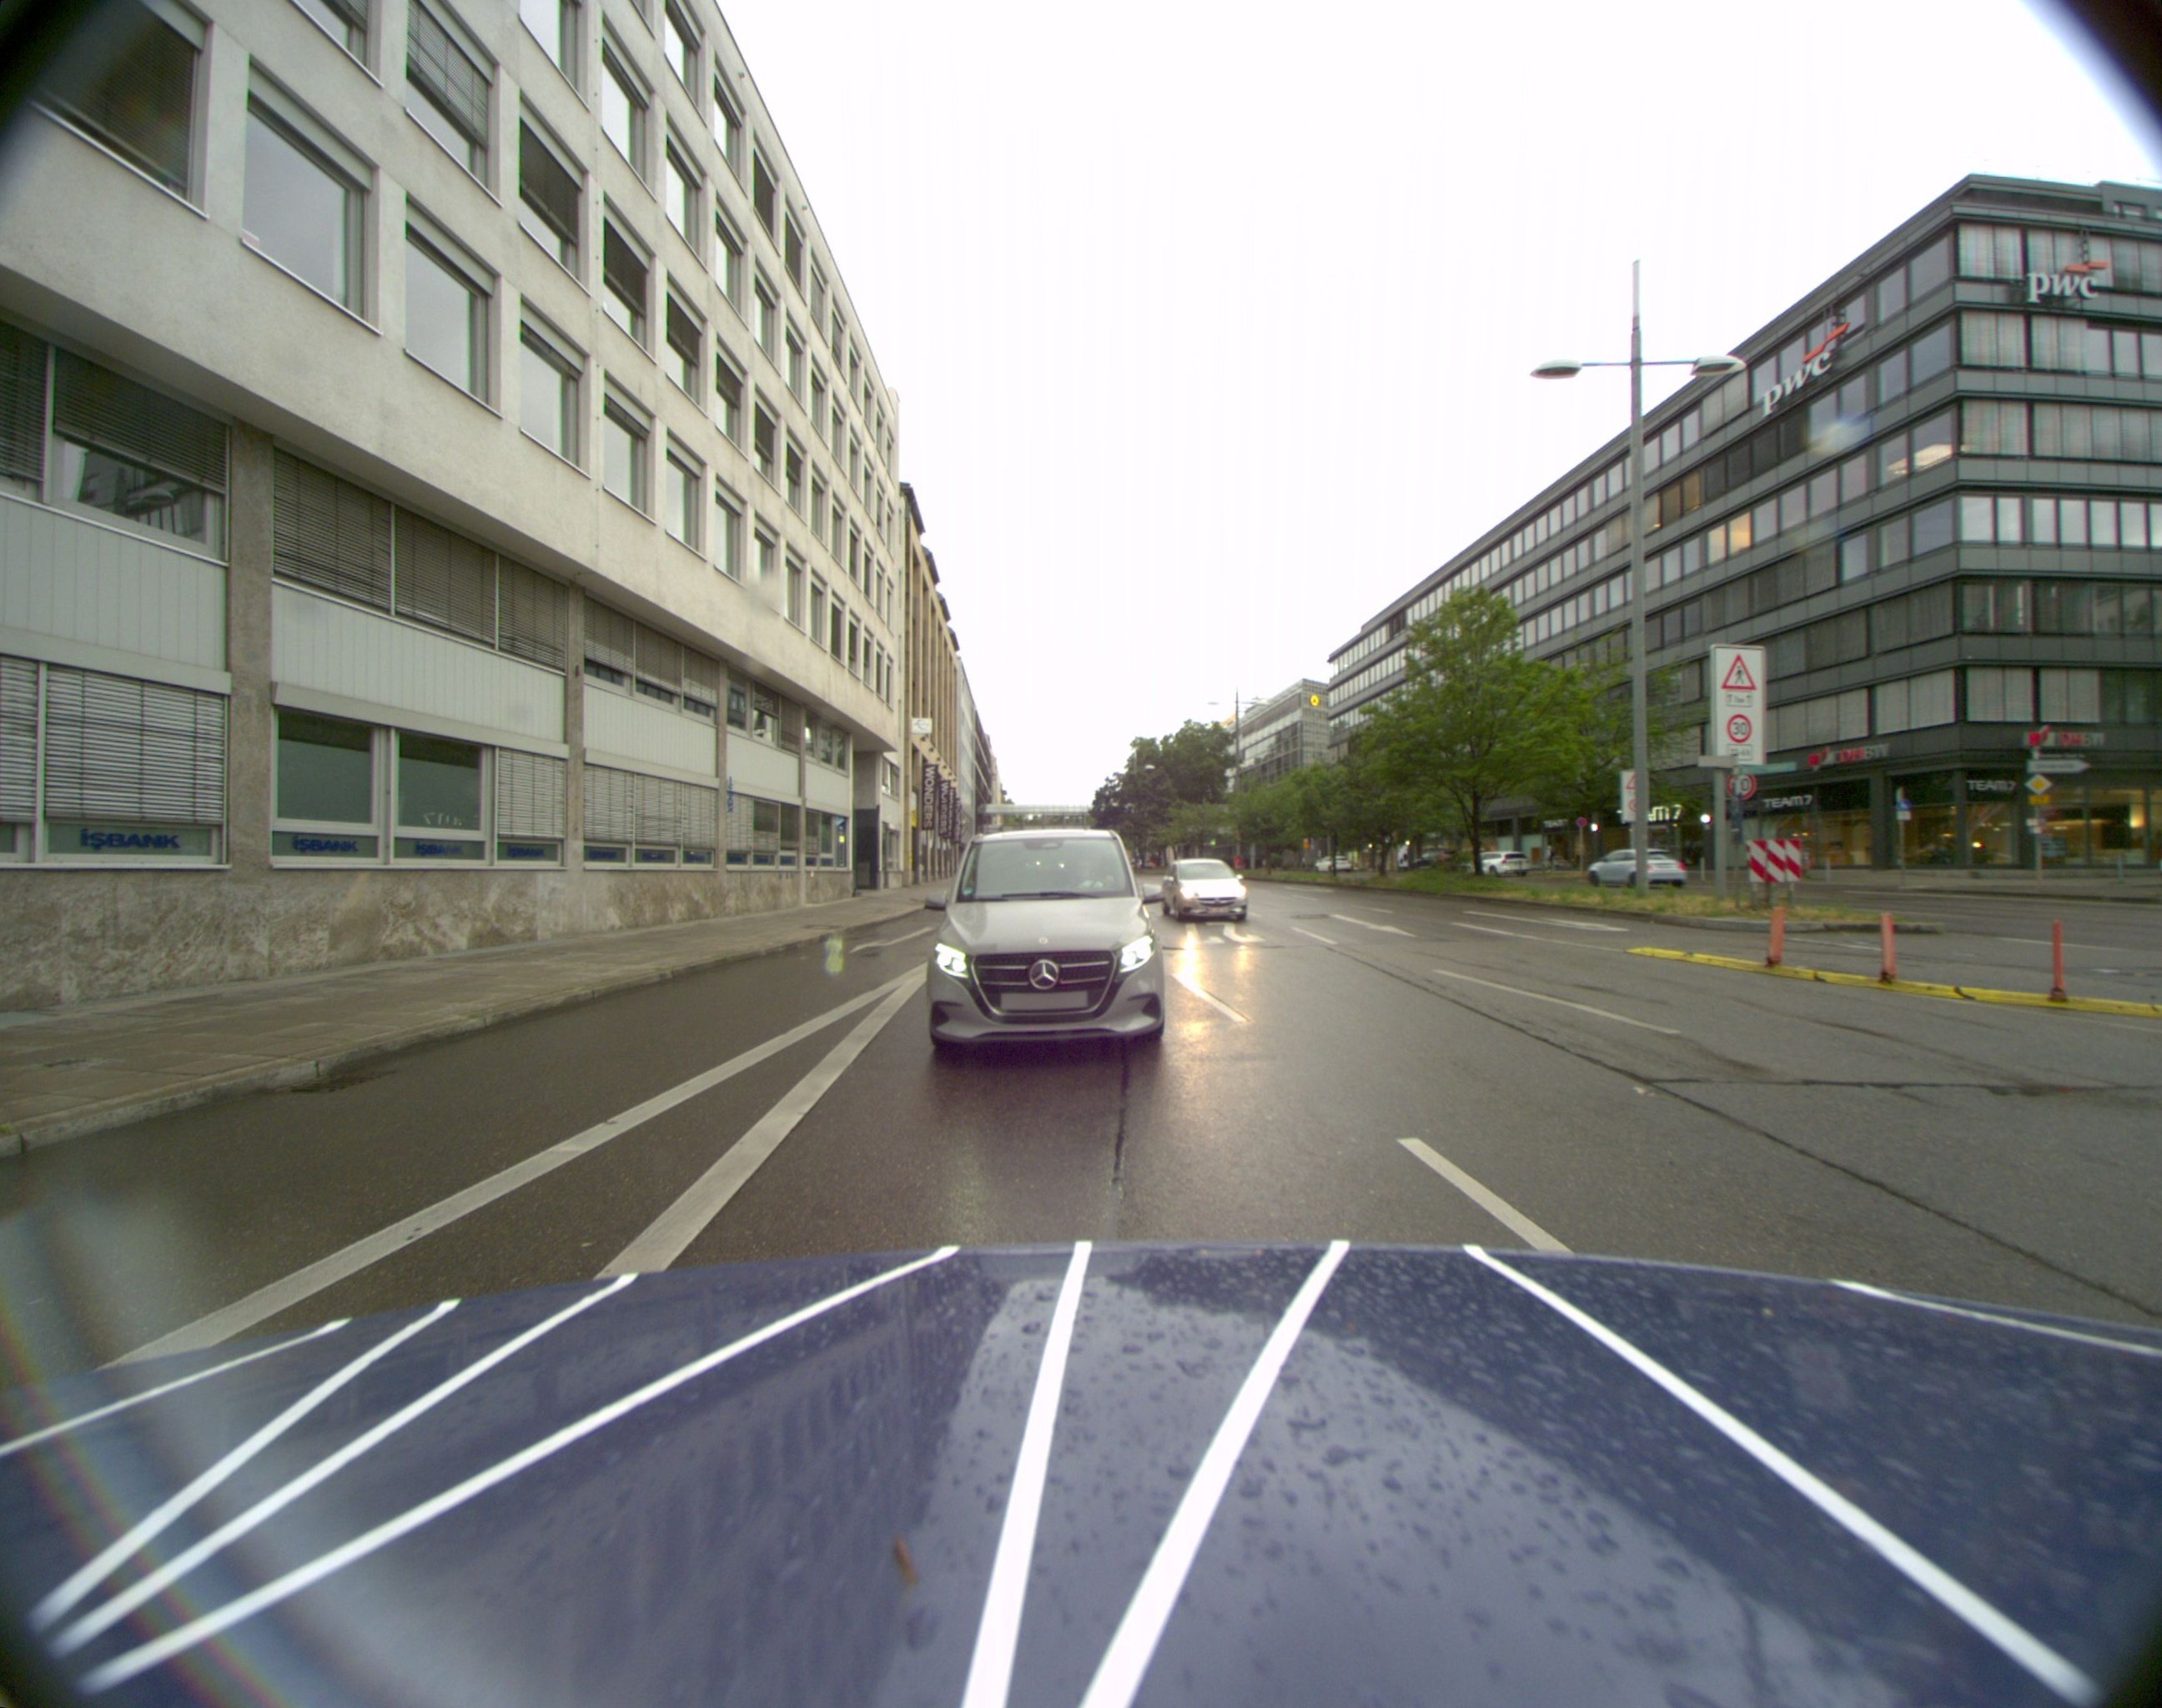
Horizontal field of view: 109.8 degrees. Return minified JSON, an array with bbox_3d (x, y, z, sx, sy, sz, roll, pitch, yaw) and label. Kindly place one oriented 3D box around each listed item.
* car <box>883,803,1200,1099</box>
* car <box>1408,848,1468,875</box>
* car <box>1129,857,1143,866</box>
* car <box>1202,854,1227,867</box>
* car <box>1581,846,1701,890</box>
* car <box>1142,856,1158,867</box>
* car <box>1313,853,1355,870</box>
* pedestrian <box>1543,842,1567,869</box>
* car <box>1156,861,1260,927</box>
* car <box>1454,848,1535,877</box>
[{"bbox_3d":[-0.289,0.686,7.831,2.163,2.014,5.041,-1,0,0],"label":"car"},{"bbox_3d":[23.677,0.451,50.523,1.813,1.651,4.309,-2,0,-2],"label":"car"},{"bbox_3d":[9.430,1.268,131.304,1.687,1.423,4.081,-1,0,-5],"label":"car"},{"bbox_3d":[16.307,0.754,93.136,1.999,1.535,4.481,-1,0,-3],"label":"car"},{"bbox_3d":[21.695,0.525,29.619,1.789,1.564,3.689,-1,0,-5],"label":"car"},{"bbox_3d":[10.880,1.178,120.355,1.742,1.717,4.491,2,0,-5],"label":"car"},{"bbox_3d":[22.289,0.647,67.004,1.814,1.436,4.307,-2,0,-7],"label":"car"},{"bbox_3d":[28.942,0.094,46.417,0.786,1.628,0.965,-1,0,-4],"label":"pedestrian"},{"bbox_3d":[3.061,0.916,19.121,1.853,1.434,3.869,-1,0,-2],"label":"car"},{"bbox_3d":[24.015,0.457,44.389,1.814,1.477,4.771,-4,0,-4],"label":"car"}]
